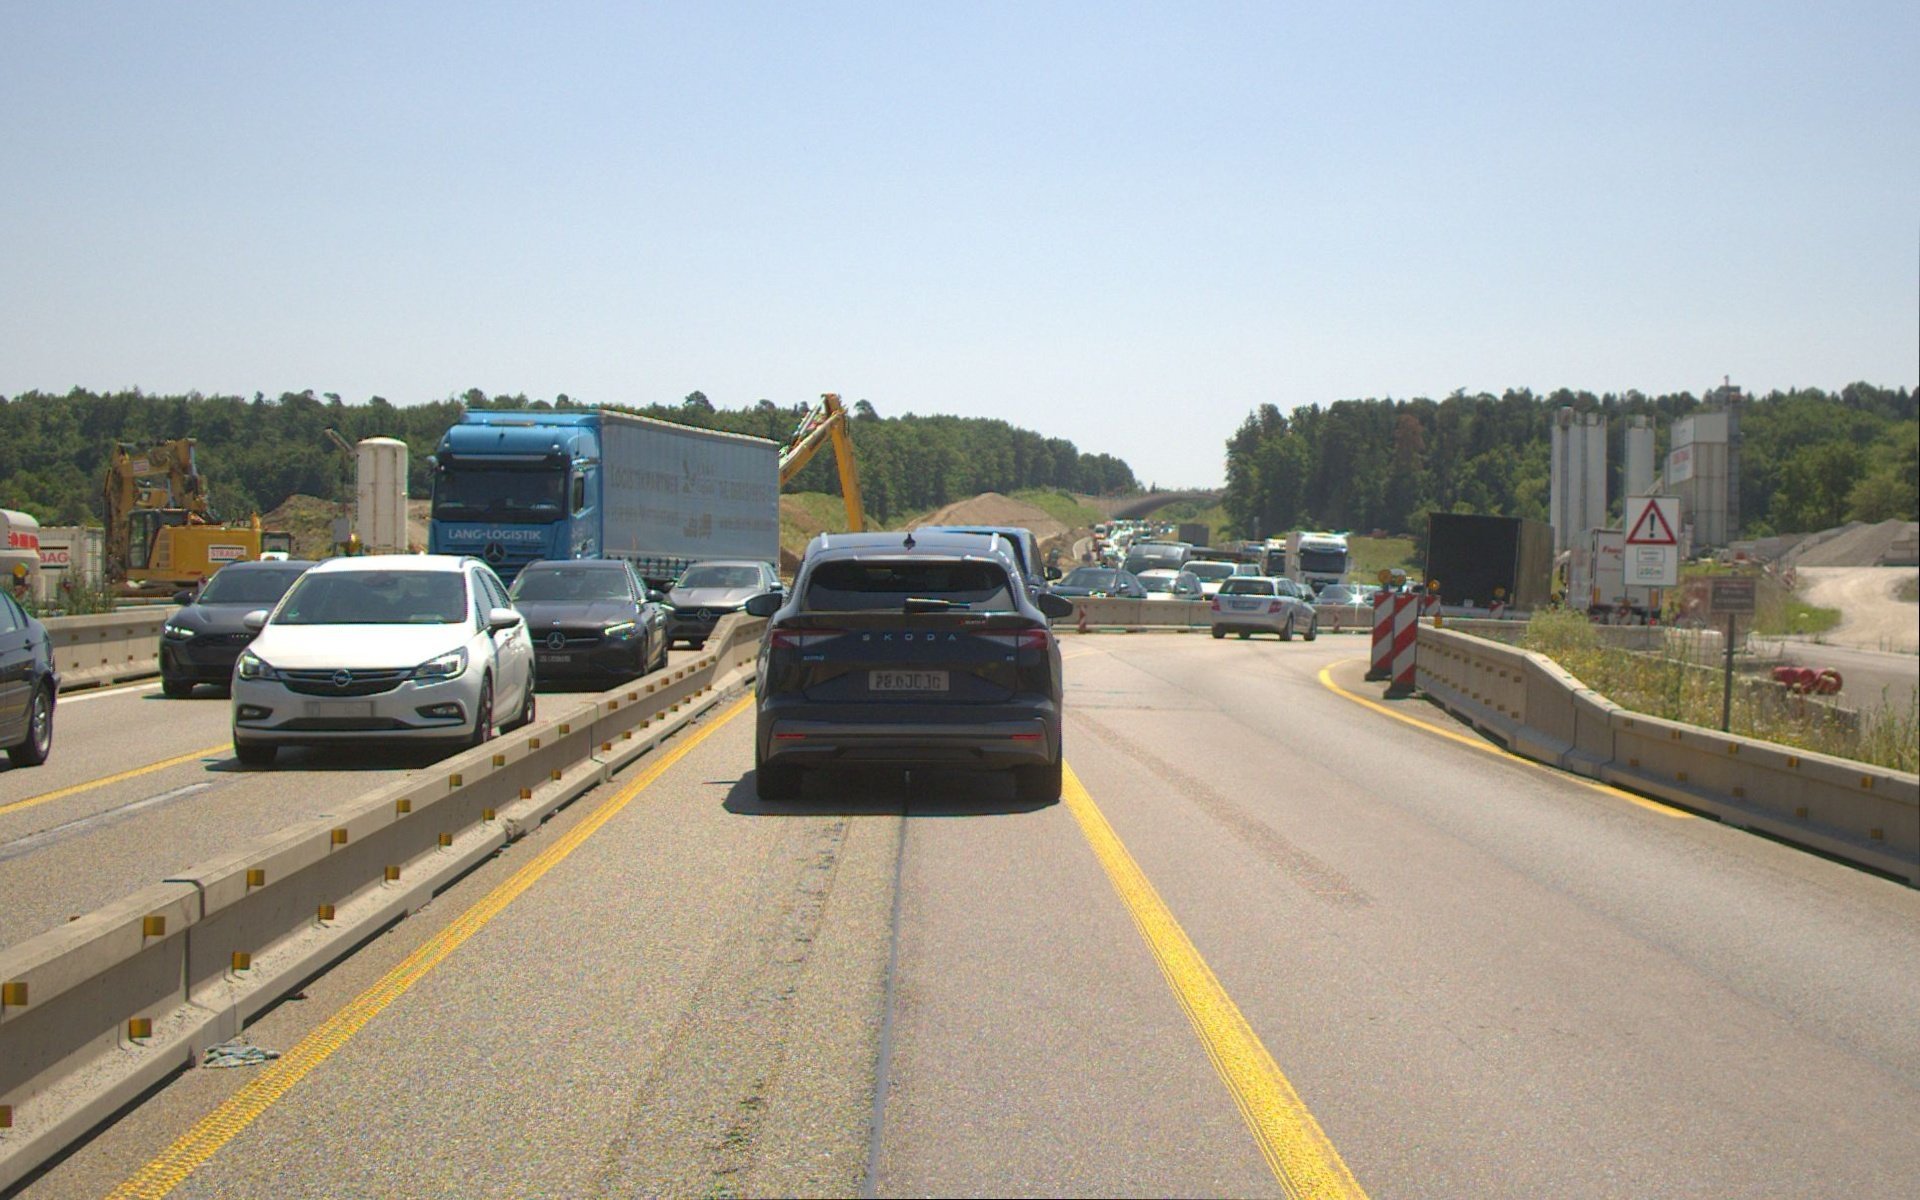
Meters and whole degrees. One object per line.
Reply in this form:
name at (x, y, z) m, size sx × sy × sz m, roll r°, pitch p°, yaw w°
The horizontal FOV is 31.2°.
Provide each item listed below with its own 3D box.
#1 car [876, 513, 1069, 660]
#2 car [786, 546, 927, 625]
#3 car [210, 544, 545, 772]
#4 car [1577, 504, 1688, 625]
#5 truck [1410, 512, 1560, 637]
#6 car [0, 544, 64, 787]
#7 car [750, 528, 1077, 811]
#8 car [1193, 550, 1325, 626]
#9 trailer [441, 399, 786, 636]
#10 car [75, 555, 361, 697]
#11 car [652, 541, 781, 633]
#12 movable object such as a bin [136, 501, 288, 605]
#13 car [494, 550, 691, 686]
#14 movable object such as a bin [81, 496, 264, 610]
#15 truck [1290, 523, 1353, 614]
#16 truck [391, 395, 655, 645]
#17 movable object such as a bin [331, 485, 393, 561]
car at (0.218, -0.200, 46.639) m, size 1.994 × 1.837 × 3.999 m, roll 2°, pitch 1°, yaw 9°
car at (-2.056, -0.318, 69.736) m, size 2.017 × 1.439 × 4.586 m, roll 0°, pitch 2°, yaw 9°
car at (-4.244, 0.358, 25.707) m, size 1.734 × 1.473 × 4.520 m, roll -1°, pitch 1°, yaw 0°
car at (25.144, -1.286, 128.227) m, size 3.439 × 4.087 × 9.191 m, roll 5°, pitch 1°, yaw 13°
truck at (13.094, -0.688, 85.425) m, size 2.675 × 2.935 × 5.615 m, roll 1°, pitch 2°, yaw 19°
car at (-7.298, 0.465, 22.725) m, size 1.767 × 1.591 × 4.001 m, roll 0°, pitch 2°, yaw -1°
car at (-0.257, 0.352, 21.444) m, size 1.842 × 1.576 × 4.000 m, roll 0°, pitch 1°, yaw 0°
car at (6.864, -0.296, 78.480) m, size 2.047 × 1.521 × 5.062 m, roll 1°, pitch 2°, yaw 16°
trailer at (-6.403, -1.576, 66.752) m, size 2.915 × 4.114 × 13.911 m, roll 0°, pitch 1°, yaw 10°
car at (-7.987, 0.234, 37.449) m, size 1.993 × 1.394 × 4.580 m, roll -1°, pitch 1°, yaw 2°
car at (-3.982, -0.236, 56.672) m, size 1.589 × 1.436 × 4.124 m, roll -1°, pitch 1°, yaw 3°
movable object such as a bin at (-21.458, -1.364, 98.599) m, size 2.871 × 2.718 × 3.361 m, roll 3°, pitch 1°, yaw -40°
car at (-4.164, 0.158, 39.602) m, size 1.774 × 1.423 × 4.770 m, roll -1°, pitch 1°, yaw 0°
movable object such as a bin at (-24.598, -1.482, 107.650) m, size 3.795 × 3.245 × 5.555 m, roll 4°, pitch 1°, yaw 6°
truck at (17.558, -1.542, 167.261) m, size 2.771 × 4.245 × 6.198 m, roll 2°, pitch 1°, yaw 5°
truck at (-7.520, -1.392, 60.037) m, size 2.915 × 4.114 × 6.136 m, roll 0°, pitch 1°, yaw 10°
movable object such as a bin at (-26.848, -3.475, 154.245) m, size 2.421 × 3.115 × 5.483 m, roll 5°, pitch 1°, yaw -11°
